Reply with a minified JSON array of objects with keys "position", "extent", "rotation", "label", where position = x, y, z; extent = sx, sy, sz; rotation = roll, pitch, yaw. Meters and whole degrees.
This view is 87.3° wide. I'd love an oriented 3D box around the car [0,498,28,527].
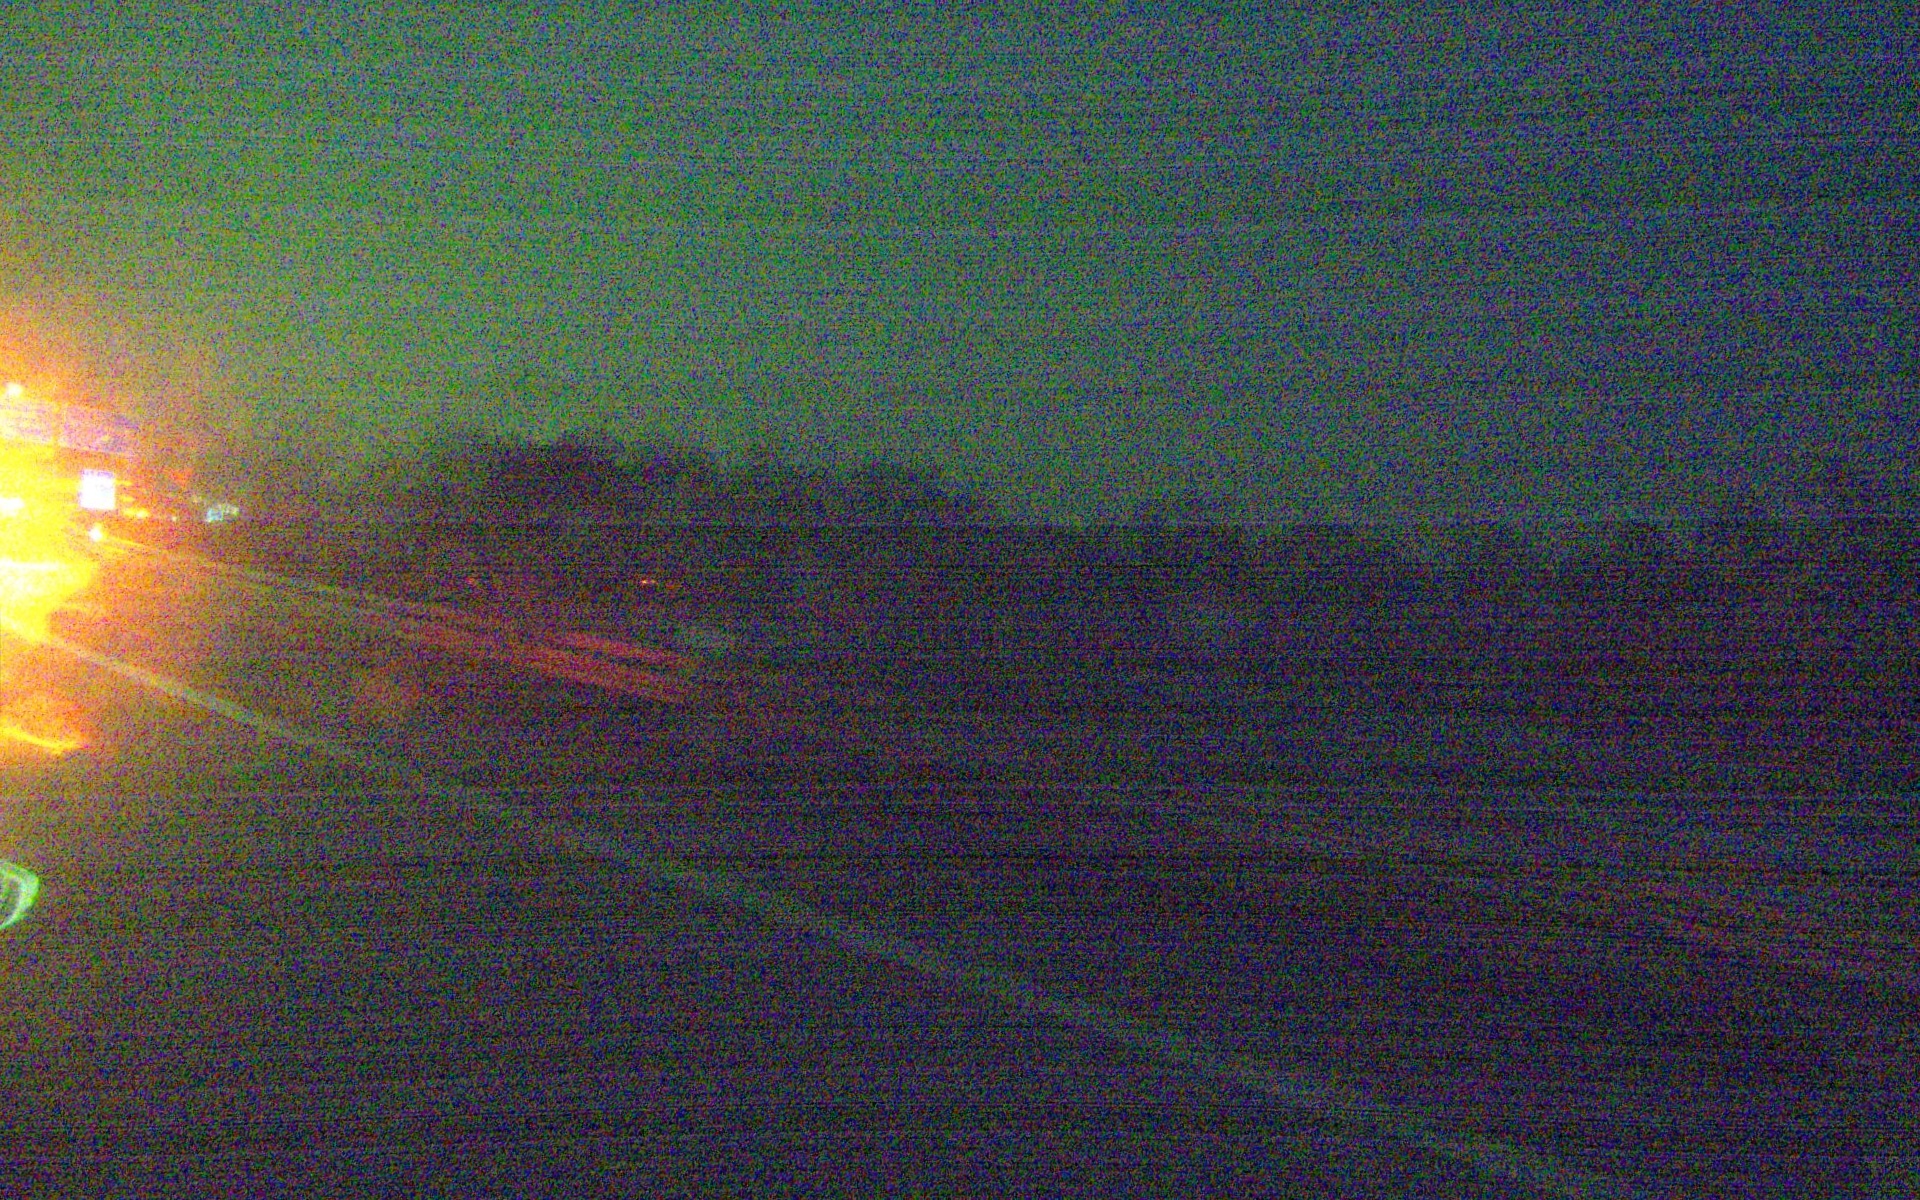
[{"position":[-74.301,-6.825,78.474],"extent":[1.887,2.021,4.002],"rotation":[8,-2,-39],"label":"car"}]
